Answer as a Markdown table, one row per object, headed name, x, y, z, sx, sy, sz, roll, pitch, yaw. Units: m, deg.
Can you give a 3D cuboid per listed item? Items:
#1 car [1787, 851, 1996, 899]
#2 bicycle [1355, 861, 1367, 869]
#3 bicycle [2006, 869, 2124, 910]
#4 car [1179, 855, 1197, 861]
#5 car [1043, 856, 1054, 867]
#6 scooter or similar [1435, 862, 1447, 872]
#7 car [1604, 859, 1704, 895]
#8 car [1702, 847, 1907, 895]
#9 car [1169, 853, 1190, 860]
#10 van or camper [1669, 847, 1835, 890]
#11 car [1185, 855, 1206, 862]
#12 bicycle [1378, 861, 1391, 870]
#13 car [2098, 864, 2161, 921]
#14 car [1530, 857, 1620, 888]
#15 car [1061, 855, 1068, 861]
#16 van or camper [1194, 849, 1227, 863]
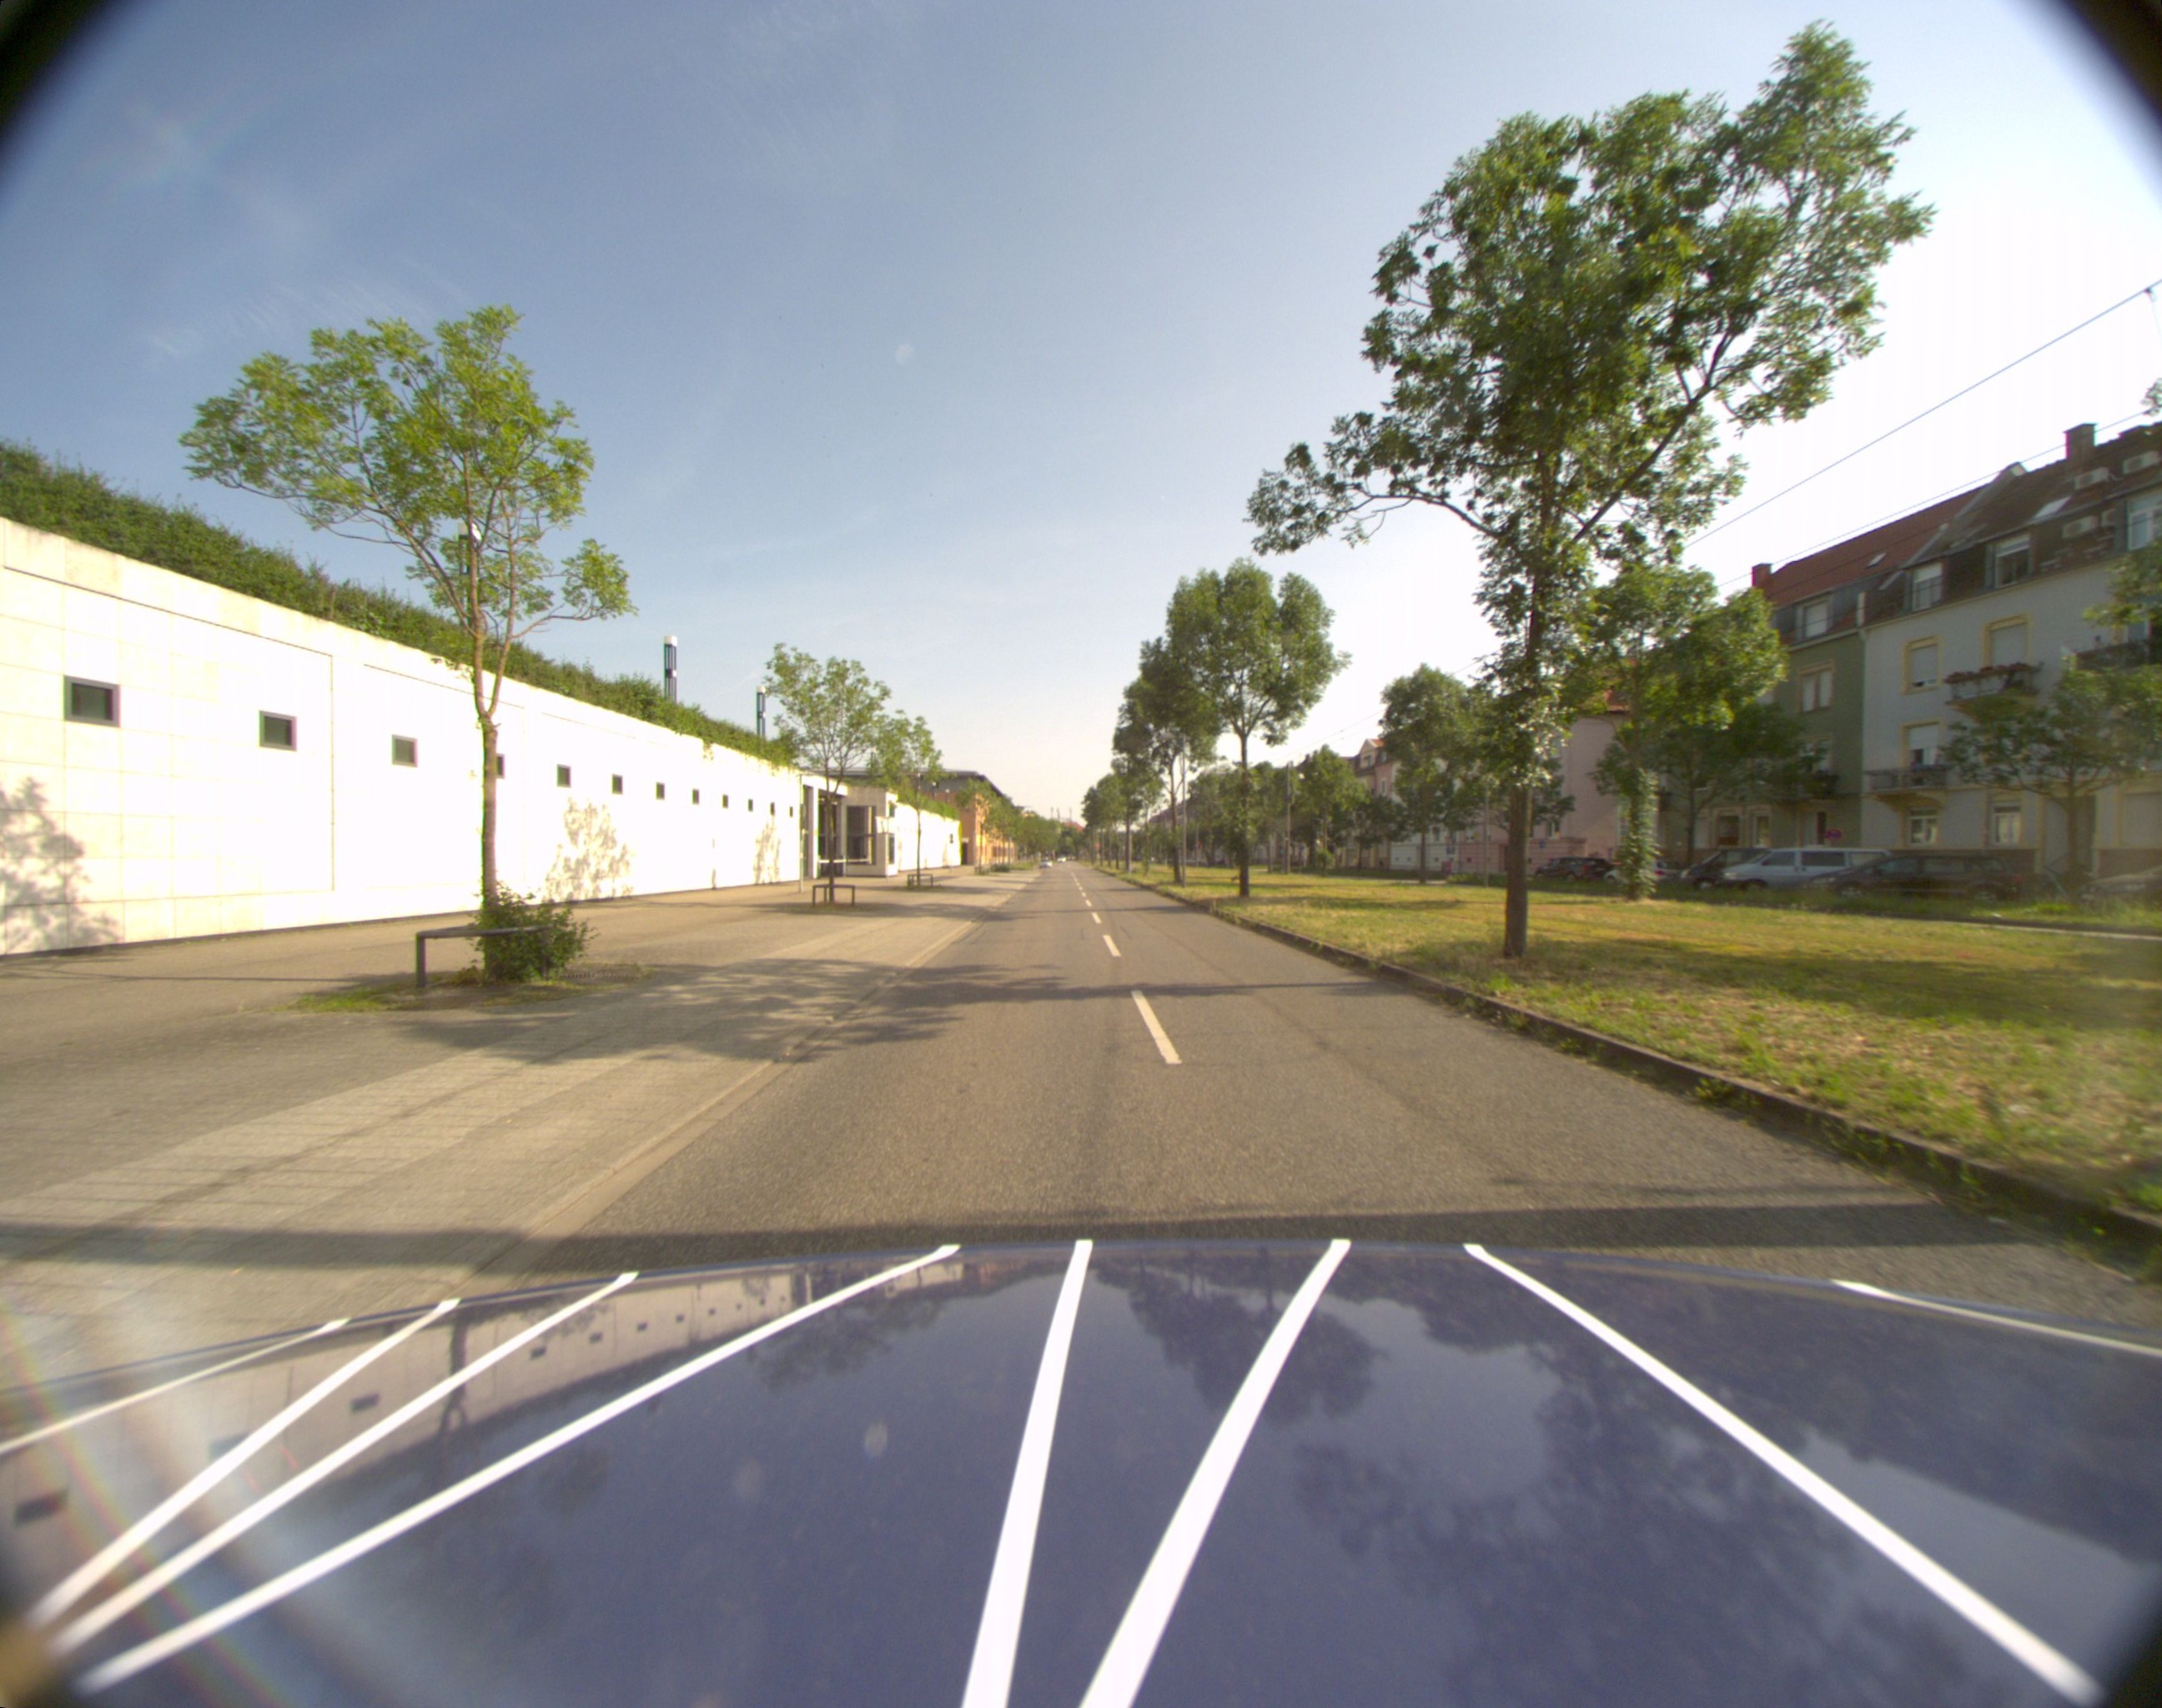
| name | x | y | z | sx | sy | sz | roll | pitch | yaw |
| --- | --- | --- | --- | --- | --- | --- | --- | --- | --- |
| car | 26.641 | 0.681 | 25.242 | 4.464 | 1.411 | 1.979 | -1 | 1 | 36 |
| bicycle | 30.904 | 1.196 | 83.840 | 0.438 | 0.784 | 1.947 | -2 | 1 | -2 |
| bicycle | 27.678 | 0.983 | 21.419 | 0.467 | 1.043 | 2.000 | -2 | 1 | -15 |
| car | 24.322 | 0.974 | 173.527 | 3.677 | 1.234 | 1.665 | -1 | 1 | 33 |
| car | -4.766 | 1.022 | 111.271 | 1.629 | 1.476 | 3.365 | -2 | 1 | -2 |
| scooter or similar | 31.226 | 1.131 | 65.900 | 0.605 | 0.808 | 1.222 | -2 | 1 | 9 |
| car | 28.737 | 1.106 | 38.296 | 1.895 | 1.619 | 4.156 | -2 | 0 | 0 |
| car | 26.699 | 0.628 | 28.362 | 5.208 | 1.614 | 2.060 | -2 | 1 | 31 |
| car | 24.251 | 0.597 | 187.106 | 4.939 | 1.716 | 1.860 | -1 | 1 | 33 |
| van or camper | 27.390 | 0.602 | 31.266 | 4.837 | 1.614 | 2.006 | -1 | 1 | 32 |
| car | 24.157 | 0.989 | 160.676 | 4.004 | 1.309 | 1.665 | -1 | 1 | 33 |
| bicycle | 30.871 | 1.135 | 77.260 | 0.448 | 0.852 | 1.947 | -2 | 1 | -2 |
| car | 27.363 | 0.881 | 17.750 | 3.989 | 1.261 | 1.642 | -1 | 1 | 32 |
| car | 28.649 | 1.002 | 44.272 | 1.999 | 1.619 | 4.773 | -2 | 0 | -3 |
| car | -4.279 | 0.966 | 200.131 | 1.693 | 1.476 | 3.365 | -2 | 1 | -2 |
| van or camper | 25.081 | 0.338 | 147.192 | 5.910 | 2.559 | 2.203 | -1 | 1 | 33 |
